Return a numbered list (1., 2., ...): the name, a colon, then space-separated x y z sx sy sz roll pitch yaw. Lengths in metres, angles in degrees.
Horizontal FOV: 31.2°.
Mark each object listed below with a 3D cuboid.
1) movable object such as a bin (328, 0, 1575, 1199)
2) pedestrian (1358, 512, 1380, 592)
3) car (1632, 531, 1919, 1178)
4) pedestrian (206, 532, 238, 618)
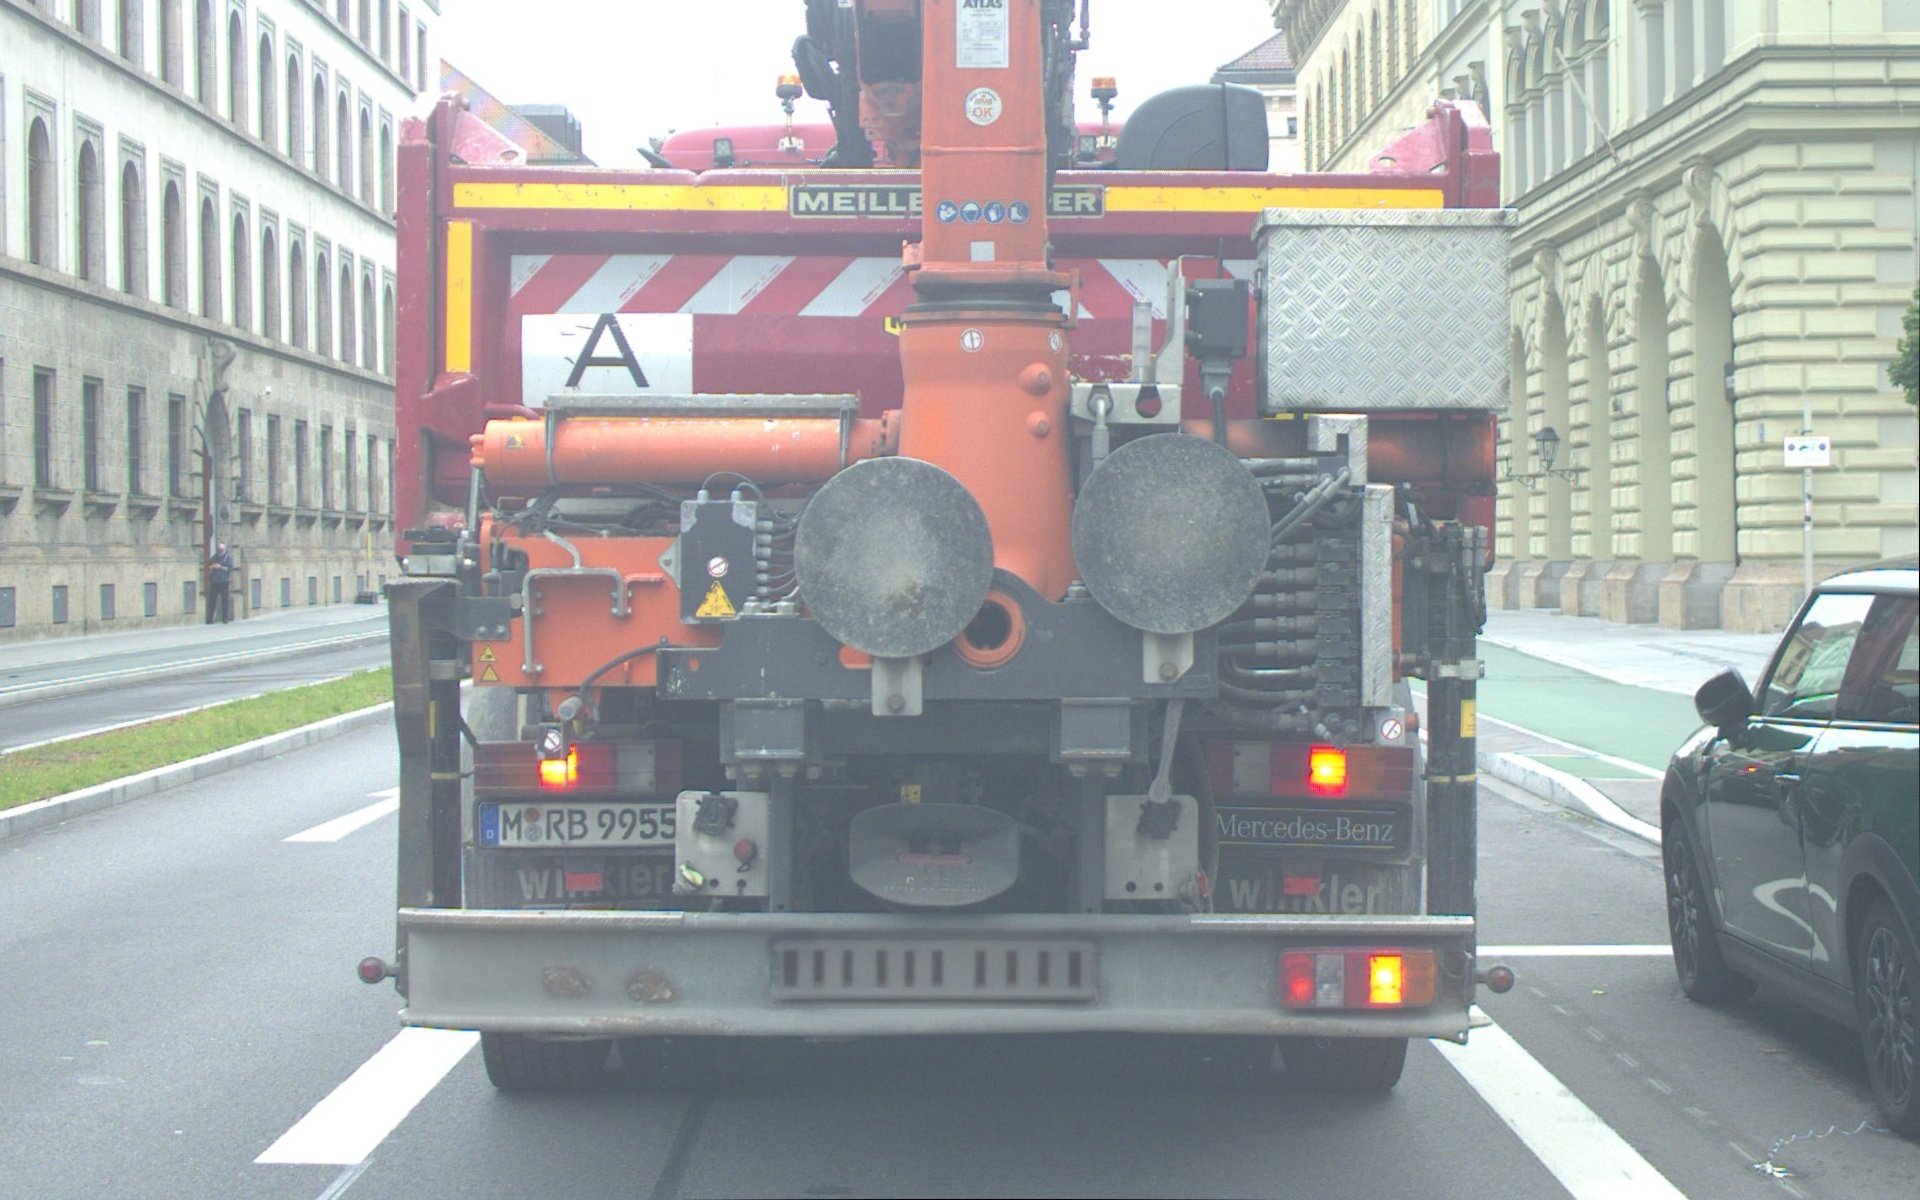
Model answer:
1. movable object such as a bin: -0.062 -0.466 9.624 2.423 3.599 5.852 0 1 -1
2. pedestrian: 9.351 -1.094 78.598 0.445 1.830 0.556 -1 1 1
3. car: 3.030 0.556 9.625 1.610 1.490 3.424 -1 1 0
4. pedestrian: -15.849 -0.536 73.866 0.588 1.825 0.499 0 1 -1
